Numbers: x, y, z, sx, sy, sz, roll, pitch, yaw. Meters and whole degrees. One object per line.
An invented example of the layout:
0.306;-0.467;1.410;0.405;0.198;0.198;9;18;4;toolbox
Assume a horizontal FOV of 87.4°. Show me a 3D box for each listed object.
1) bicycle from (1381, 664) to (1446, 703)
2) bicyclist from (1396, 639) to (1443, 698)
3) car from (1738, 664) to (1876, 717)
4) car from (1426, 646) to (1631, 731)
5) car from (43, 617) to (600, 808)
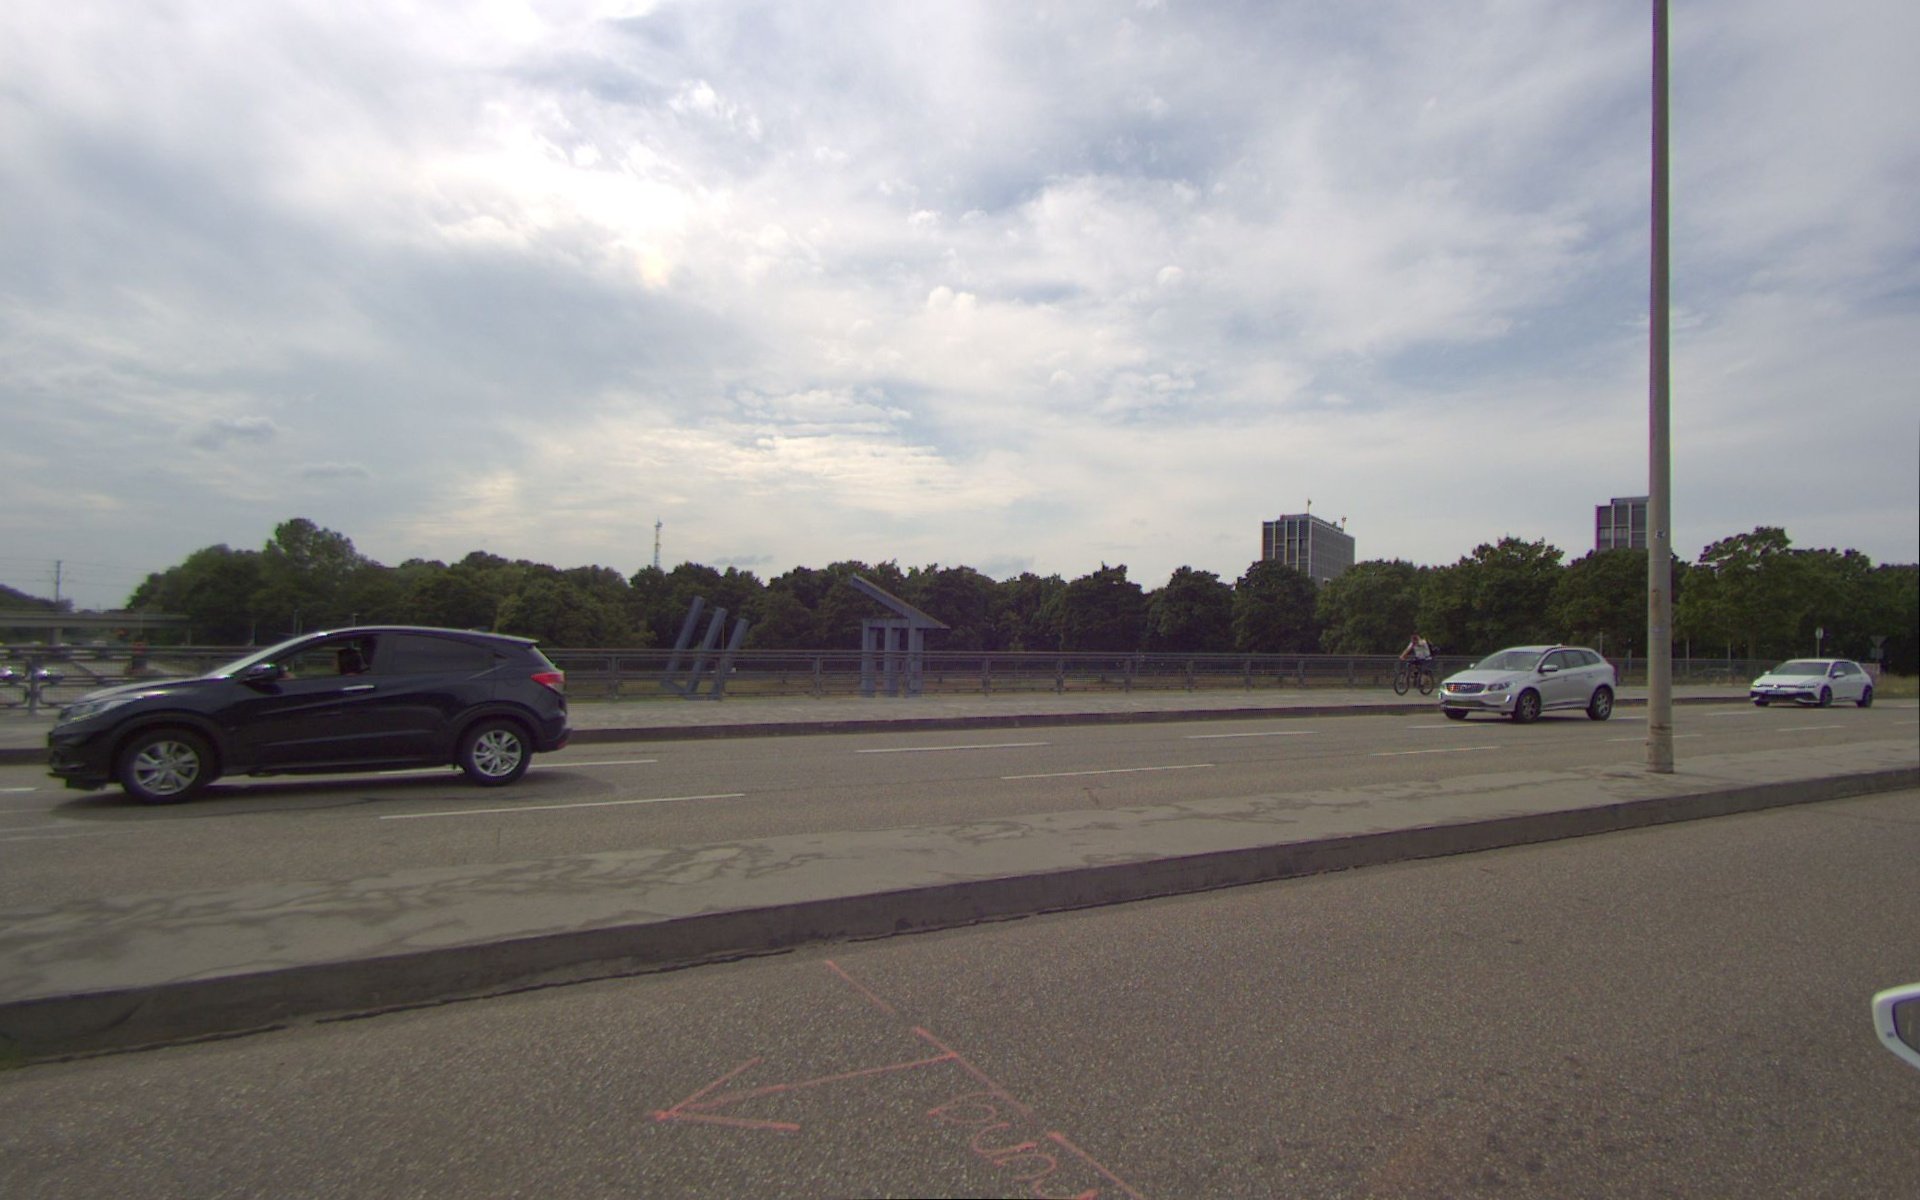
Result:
13.066;2.393;28.930;2.037;1.063;0.702;3;-2;-32;bicycle
13.297;1.988;29.069;0.966;1.648;0.790;3;-1;-32;bicyclist
25.881;2.742;30.676;4.417;1.500;1.731;3;-4;-29;car
12.899;1.989;22.738;4.712;1.747;1.855;3;-4;-29;car
-5.998;1.047;9.989;4.268;1.535;1.730;3;-4;-32;car
